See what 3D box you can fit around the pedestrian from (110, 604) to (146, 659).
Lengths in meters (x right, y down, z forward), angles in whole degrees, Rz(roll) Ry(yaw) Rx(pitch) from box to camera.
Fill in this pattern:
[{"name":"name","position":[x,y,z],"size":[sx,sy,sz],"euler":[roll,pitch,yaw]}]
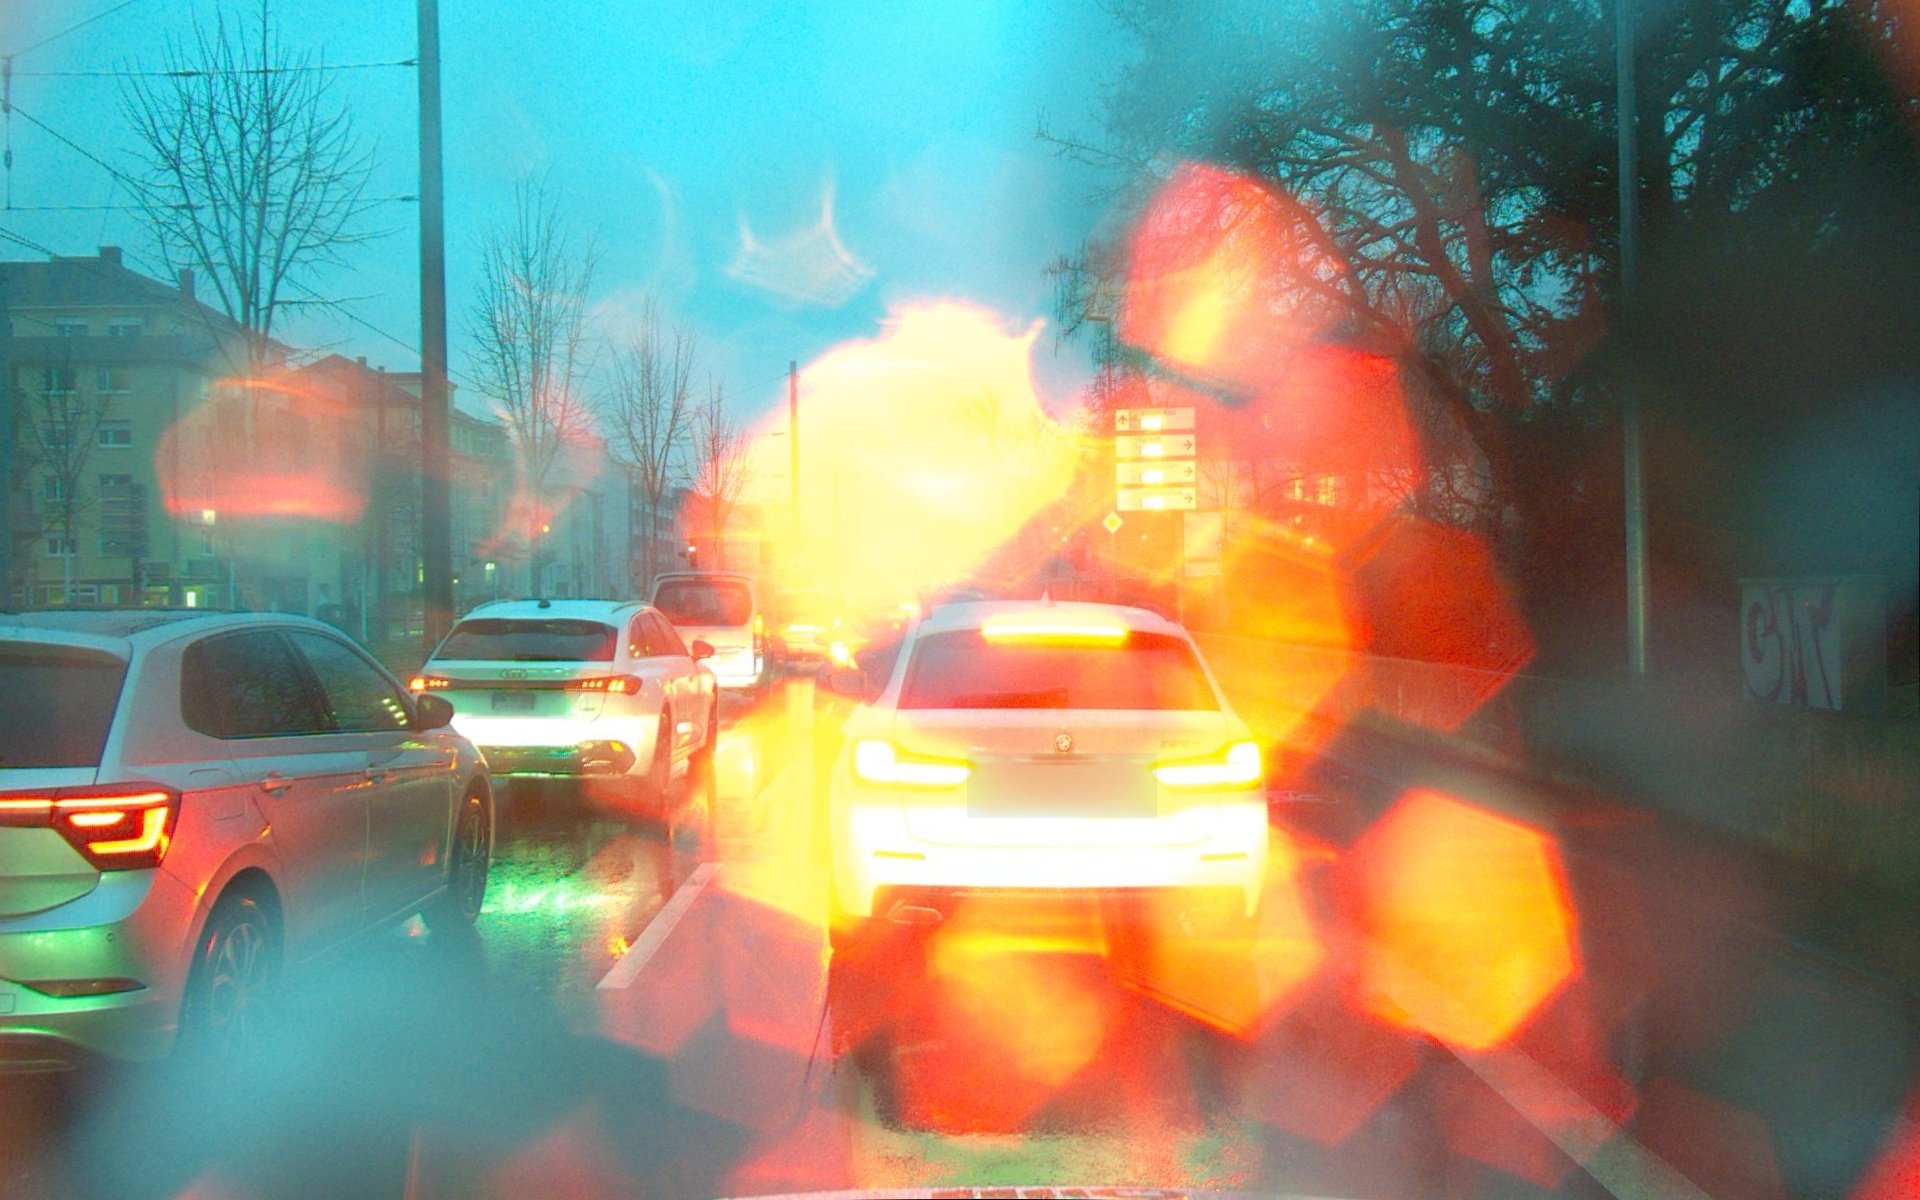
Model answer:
[{"name":"pedestrian","position":[-31.758,1.201,63.140],"size":[0.999,2.049,0.947],"euler":[-1,0,-42]}]

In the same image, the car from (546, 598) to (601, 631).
[{"name":"car","position":[-19.635,0.726,84.256],"size":[1.953,1.630,3.998],"euler":[1,0,-2]}]

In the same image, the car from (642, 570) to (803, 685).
[{"name":"car","position":[-3.284,0.343,23.613],"size":[1.702,1.444,4.393],"euler":[-1,0,-1]}]

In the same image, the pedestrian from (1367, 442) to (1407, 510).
[{"name":"pedestrian","position":[13.413,-3.872,51.966],"size":[0.939,2.049,1.007],"euler":[-1,0,0]}]

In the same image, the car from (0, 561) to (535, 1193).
[{"name":"car","position":[-2.880,0.669,6.066],"size":[1.658,1.560,3.999],"euler":[0,0,-1]}]

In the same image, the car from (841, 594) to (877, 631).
[{"name":"car","position":[-3.822,0.480,62.692],"size":[1.336,1.339,2.714],"euler":[1,0,-3]}]

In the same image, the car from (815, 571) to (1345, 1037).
[{"name":"car","position":[0.386,0.694,8.241],"size":[1.825,1.583,4.937],"euler":[-1,0,-1]}]

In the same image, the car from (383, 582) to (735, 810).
[{"name":"car","position":[-2.998,0.629,13.382],"size":[1.762,1.492,4.585],"euler":[-1,0,-1]}]

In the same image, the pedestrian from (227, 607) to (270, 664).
[{"name":"pedestrian","position":[-26.133,1.289,60.748],"size":[0.988,2.049,1.067],"euler":[-1,0,37]}]

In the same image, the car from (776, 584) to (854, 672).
[{"name":"car","position":[-2.891,0.546,33.337],"size":[1.476,1.681,2.842],"euler":[1,0,-4]}]

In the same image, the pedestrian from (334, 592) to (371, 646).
[{"name":"pedestrian","position":[-23.588,0.724,64.211],"size":[1.253,2.049,1.000],"euler":[-1,0,-25]}]

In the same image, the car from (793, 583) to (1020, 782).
[{"name":"car","position":[-0.444,0.646,14.932],"size":[1.763,1.537,3.894],"euler":[-1,0,-1]}]

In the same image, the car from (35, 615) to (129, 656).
[{"name":"car","position":[-43.740,1.761,82.488],"size":[3.679,1.976,1.838],"euler":[1,0,-9]}]

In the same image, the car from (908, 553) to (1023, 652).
[{"name":"car","position":[0.059,0.024,26.623],"size":[1.702,1.444,3.702],"euler":[-1,0,-1]}]
